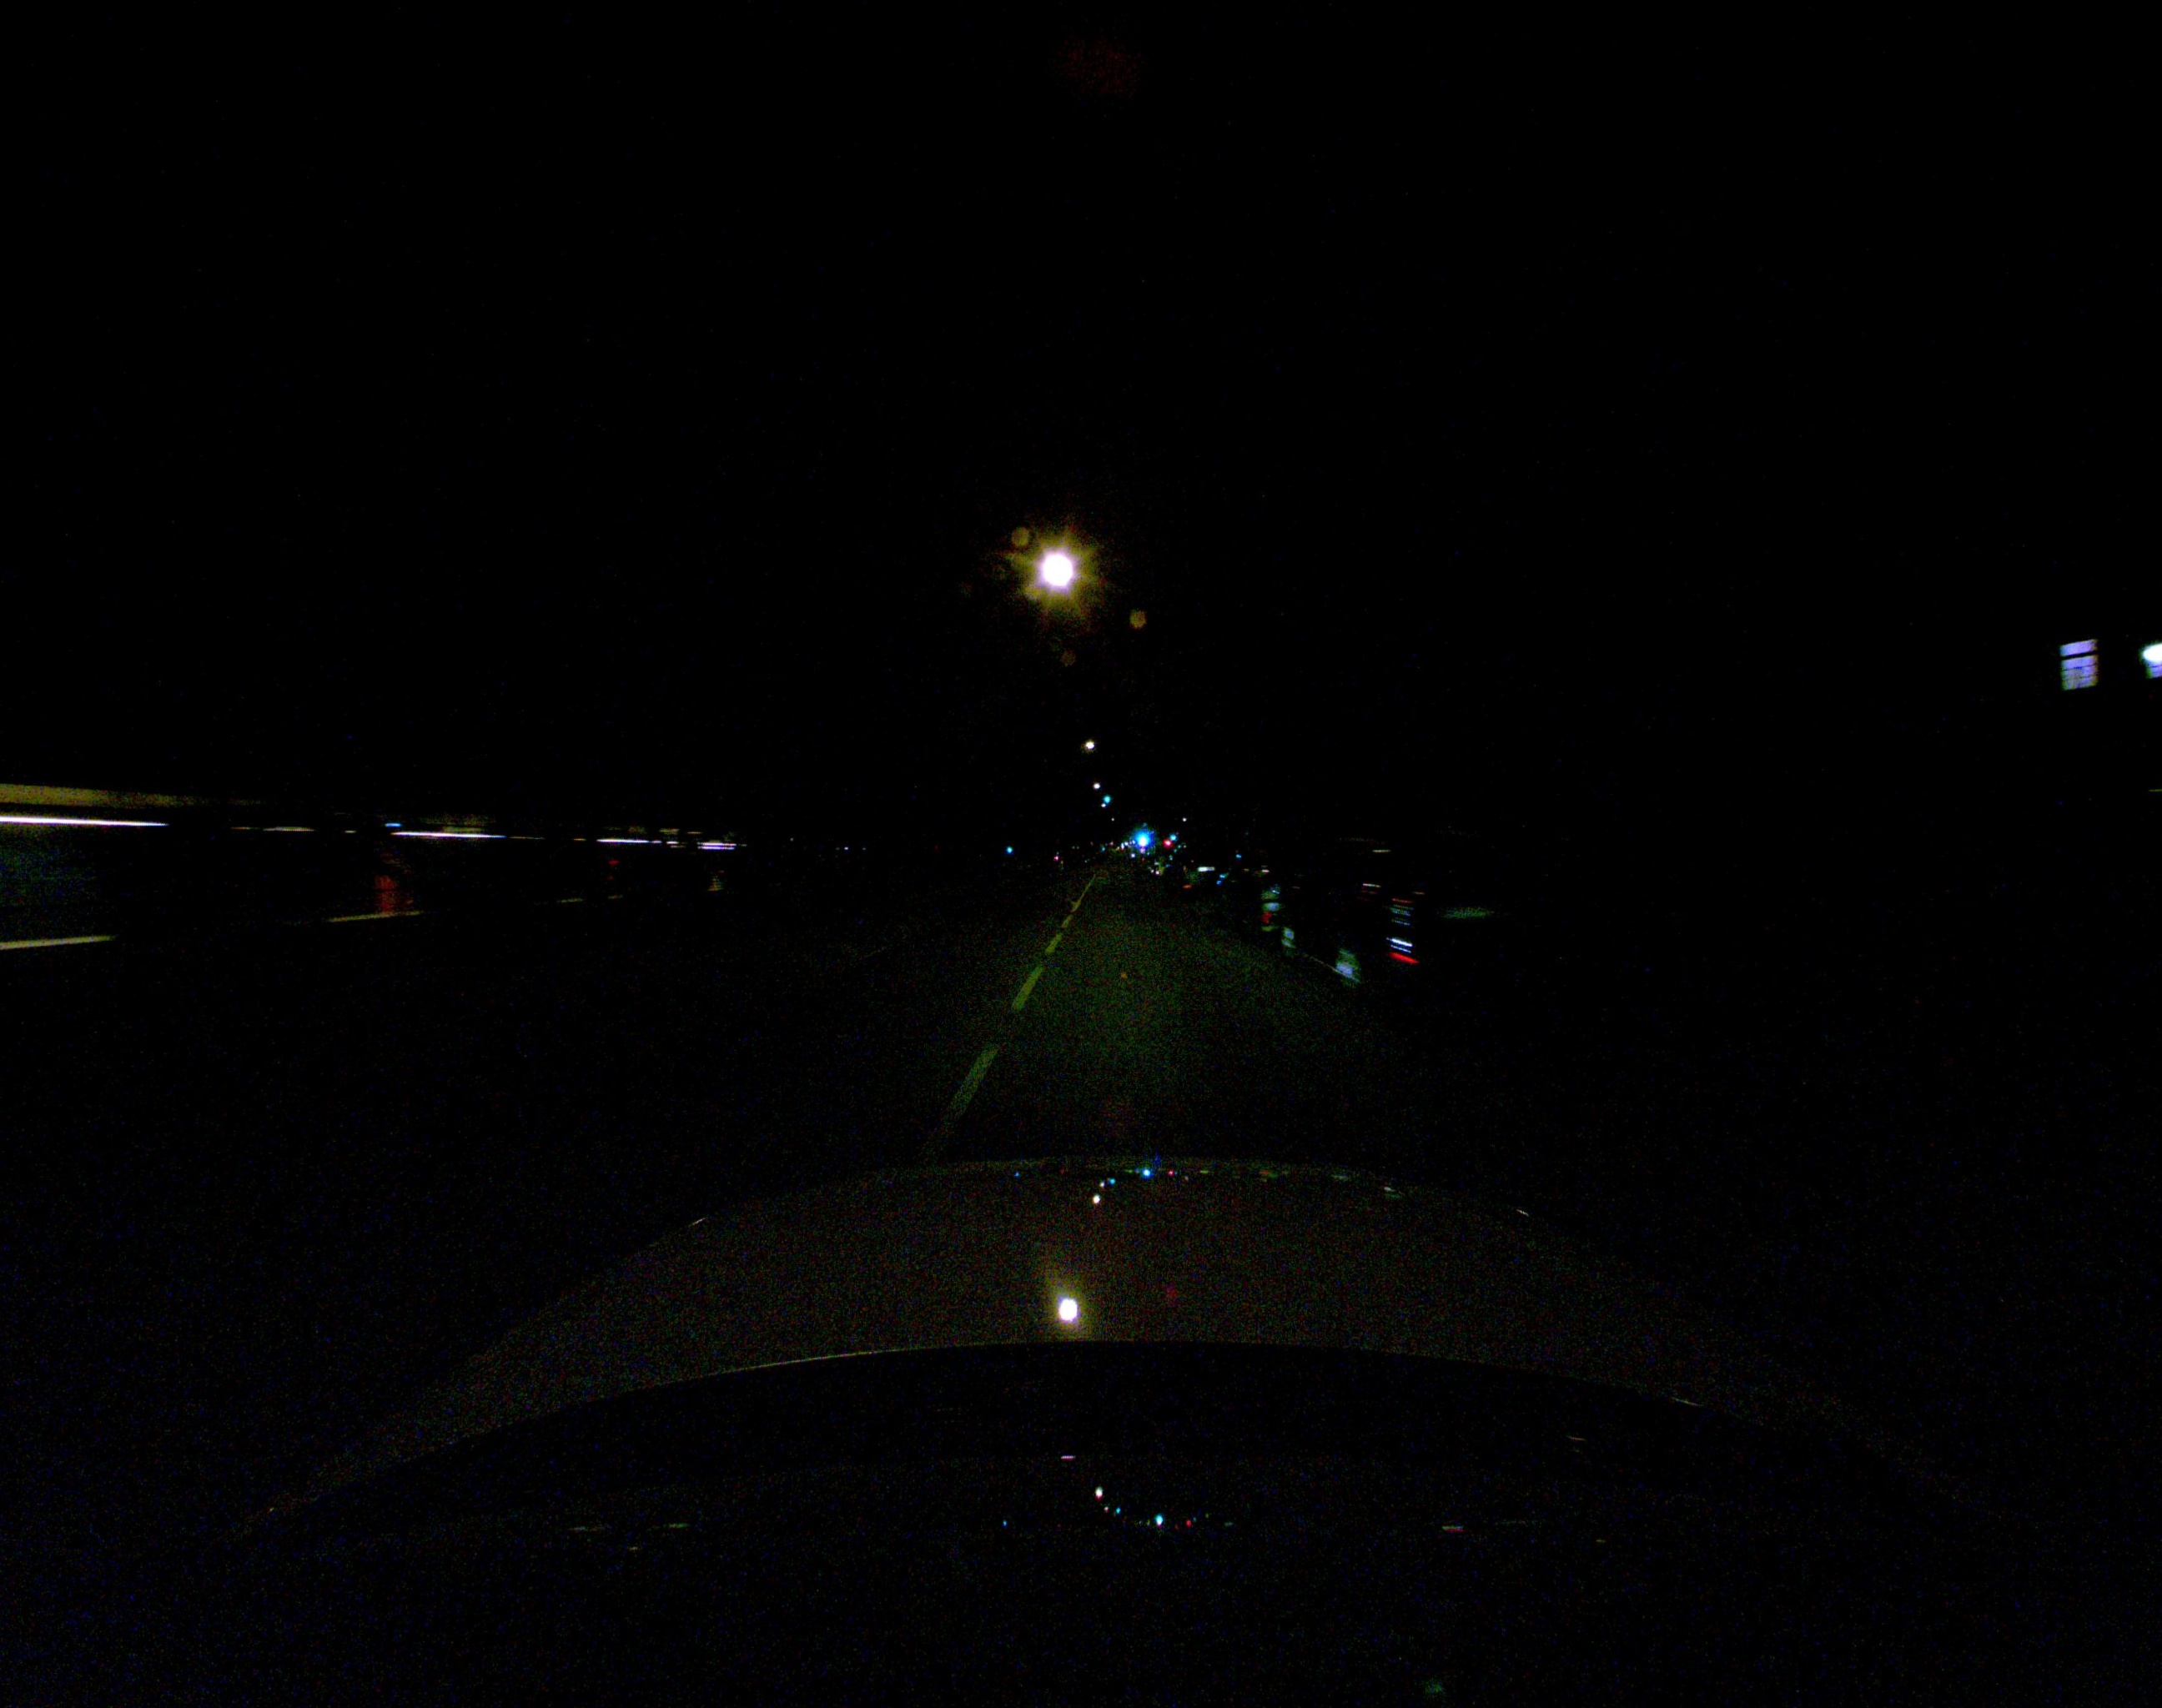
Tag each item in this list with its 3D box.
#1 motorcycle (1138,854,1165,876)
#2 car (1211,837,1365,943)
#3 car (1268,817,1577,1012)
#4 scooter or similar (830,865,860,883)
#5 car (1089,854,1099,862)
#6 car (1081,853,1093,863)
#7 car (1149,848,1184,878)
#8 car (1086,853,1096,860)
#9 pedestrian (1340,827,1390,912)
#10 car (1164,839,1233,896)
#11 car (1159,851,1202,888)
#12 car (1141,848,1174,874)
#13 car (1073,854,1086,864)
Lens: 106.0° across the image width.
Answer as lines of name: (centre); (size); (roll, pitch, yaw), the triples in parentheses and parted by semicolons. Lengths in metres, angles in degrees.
motorcycle: (4.340, 0.677, 49.826); (0.630, 1.270, 2.077); (-2, 0, 37)
car: (3.614, 0.567, 14.984); (1.846, 1.604, 4.211); (-3, 0, 2)
car: (3.568, 0.538, 9.471); (1.846, 1.654, 4.210); (-4, 0, 1)
scooter or similar: (-14.250, 1.209, 49.237); (1.667, 1.008, 0.545); (0, 0, 3)
car: (2.321, 0.649, 146.933); (1.734, 1.416, 3.754); (-2, 0, 2)
car: (1.014, 0.603, 132.754); (1.734, 1.415, 3.755); (-2, 1, 2)
car: (4.841, 0.502, 46.354); (1.585, 1.534, 4.139); (-4, 0, 1)
car: (1.934, 0.509, 160.488); (1.734, 1.416, 3.754); (-2, 0, 2)
pedestrian: (6.020, 0.311, 17.279); (0.702, 1.721, 0.822); (-3, 0, 2)
car: (4.173, 0.435, 29.504); (1.766, 1.806, 4.276); (-4, 0, 0)
car: (4.231, 0.622, 35.067); (1.514, 1.396, 3.987); (-3, 0, 3)
car: (4.982, 0.434, 53.723); (1.846, 1.590, 4.302); (-2, 0, 1)
car: (-0.204, 0.736, 117.440); (1.734, 1.416, 3.754); (-2, 0, 2)
